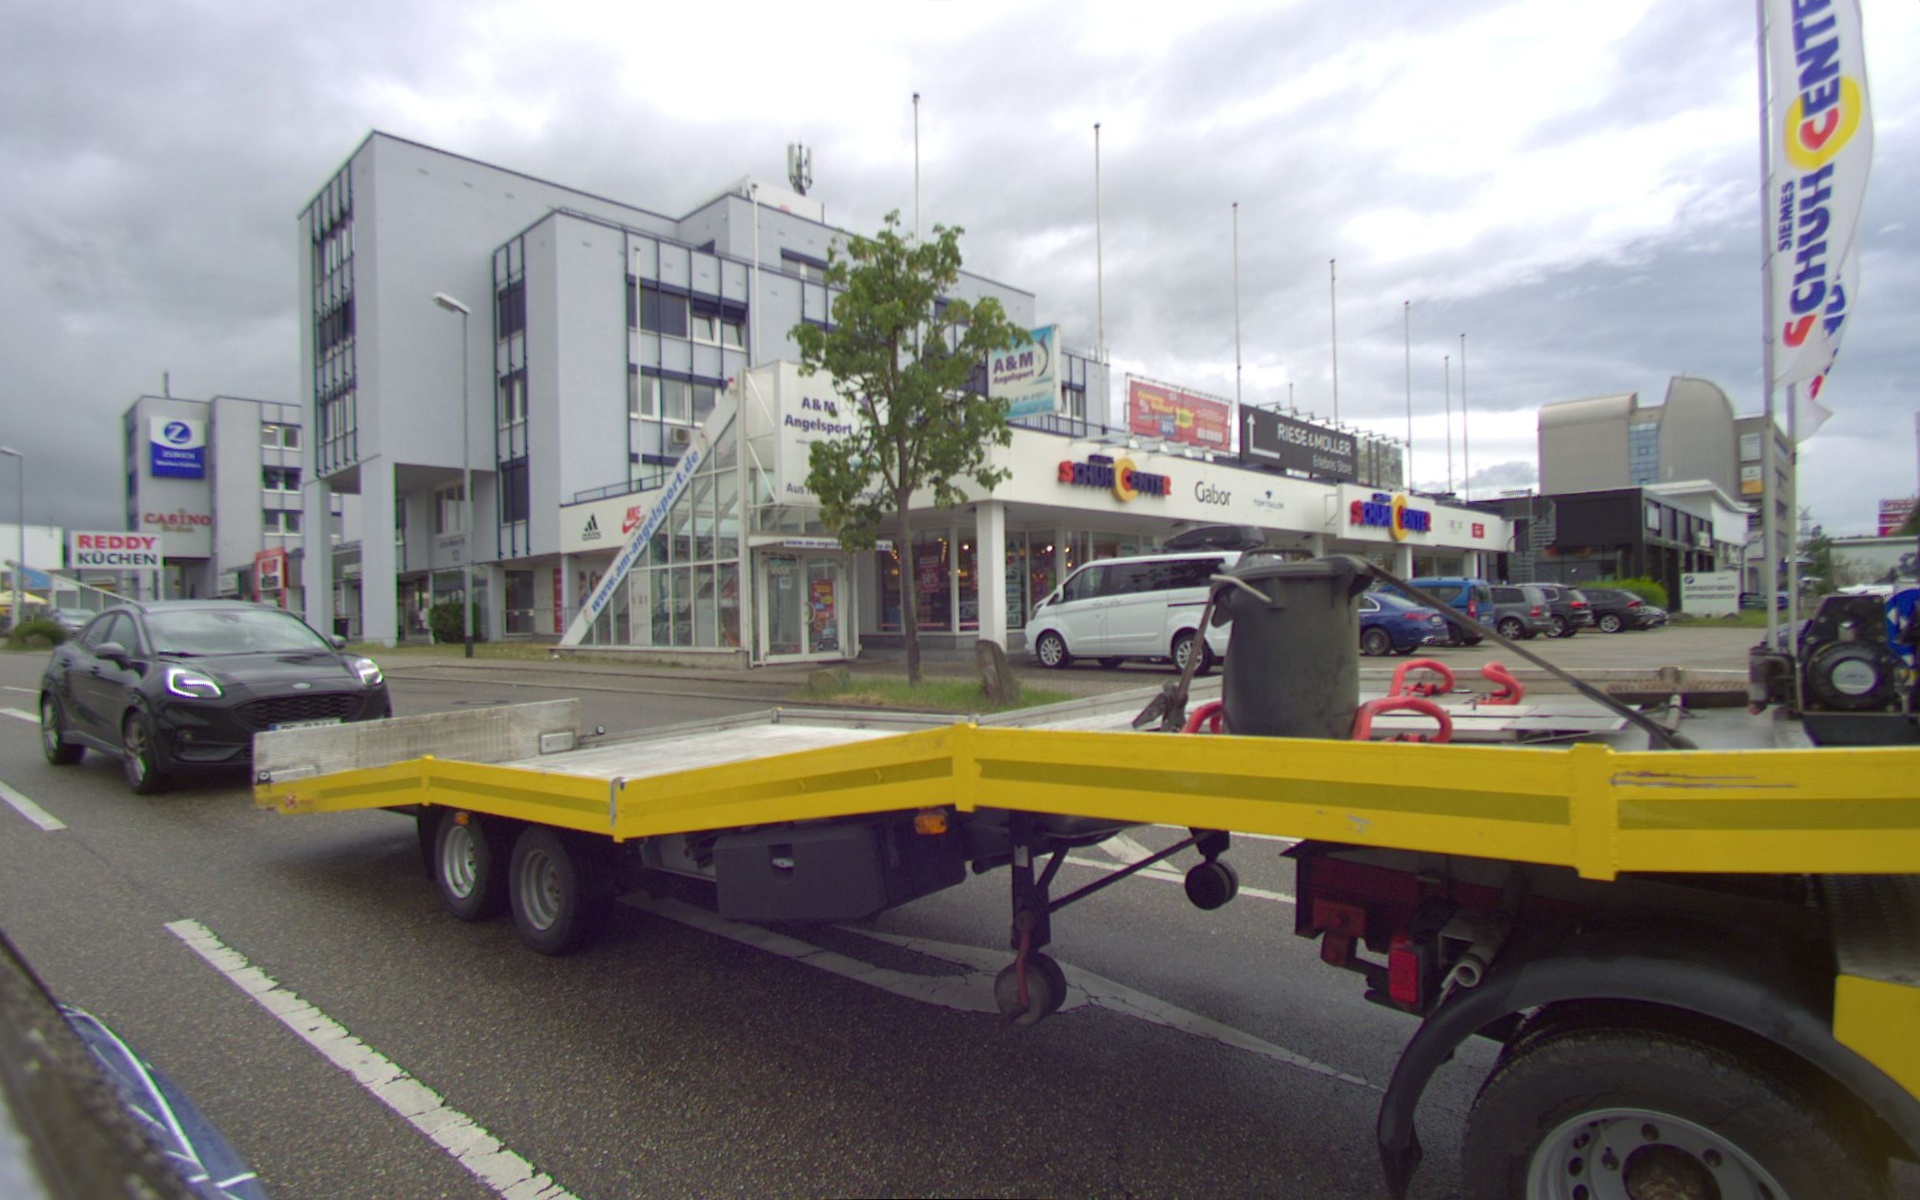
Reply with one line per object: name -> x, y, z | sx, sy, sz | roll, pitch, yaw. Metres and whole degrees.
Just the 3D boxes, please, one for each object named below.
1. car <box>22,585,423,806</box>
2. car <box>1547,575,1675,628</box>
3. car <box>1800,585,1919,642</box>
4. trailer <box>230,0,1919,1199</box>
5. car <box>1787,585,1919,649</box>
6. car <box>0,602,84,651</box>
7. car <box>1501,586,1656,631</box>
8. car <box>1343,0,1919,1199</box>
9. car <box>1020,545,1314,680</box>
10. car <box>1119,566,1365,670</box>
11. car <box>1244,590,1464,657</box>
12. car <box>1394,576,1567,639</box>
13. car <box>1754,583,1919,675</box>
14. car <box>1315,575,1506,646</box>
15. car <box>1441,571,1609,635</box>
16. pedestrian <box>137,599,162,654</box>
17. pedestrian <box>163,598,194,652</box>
car -> -6.713, 0.687, 9.084 | 3.993, 1.552, 1.792 | -1, 1, 37
car -> 26.249, 0.065, 40.883 | 1.882, 2.029, 4.004 | 0, 0, -43
car -> 23.850, 0.329, 25.396 | 4.128, 1.404, 1.797 | -1, 0, 44
trailer -> -0.541, 0.158, 4.373 | 7.964, 2.492, 2.280 | 1, 0, 39
car -> 21.560, 0.376, 23.017 | 4.128, 1.404, 1.872 | -1, 0, 44
car -> -32.868, 0.955, 36.192 | 3.998, 1.622, 1.799 | -2, -1, 41
car -> 21.772, 0.300, 35.736 | 4.377, 1.509, 1.869 | -1, 0, 44
car -> 3.346, 0.104, 1.155 | 5.010, 2.492, 2.217 | 1, 0, 39
car -> 3.470, 0.208, 17.702 | 1.970, 2.029, 4.791 | 1, -1, -44
car -> 5.511, 0.337, 20.162 | 4.377, 1.834, 1.869 | -1, 0, 44
car -> 8.993, 0.514, 23.350 | 4.377, 1.404, 1.797 | -1, 0, 44
car -> 15.858, 0.231, 30.980 | 4.377, 1.777, 1.869 | -1, 0, 44
car -> 15.350, 0.439, 16.016 | 1.795, 1.404, 4.132 | 0, 0, -42
car -> 12.189, 0.278, 27.545 | 4.377, 1.777, 1.869 | -1, 0, 44
car -> 18.065, 0.107, 32.478 | 4.377, 1.920, 1.869 | -1, 0, 44
pedestrian -> -25.611, 0.823, 31.965 | 0.519, 1.720, 0.543 | -1, 0, 43
pedestrian -> -25.734, 0.811, 33.321 | 0.634, 1.756, 0.590 | -1, 0, -17
